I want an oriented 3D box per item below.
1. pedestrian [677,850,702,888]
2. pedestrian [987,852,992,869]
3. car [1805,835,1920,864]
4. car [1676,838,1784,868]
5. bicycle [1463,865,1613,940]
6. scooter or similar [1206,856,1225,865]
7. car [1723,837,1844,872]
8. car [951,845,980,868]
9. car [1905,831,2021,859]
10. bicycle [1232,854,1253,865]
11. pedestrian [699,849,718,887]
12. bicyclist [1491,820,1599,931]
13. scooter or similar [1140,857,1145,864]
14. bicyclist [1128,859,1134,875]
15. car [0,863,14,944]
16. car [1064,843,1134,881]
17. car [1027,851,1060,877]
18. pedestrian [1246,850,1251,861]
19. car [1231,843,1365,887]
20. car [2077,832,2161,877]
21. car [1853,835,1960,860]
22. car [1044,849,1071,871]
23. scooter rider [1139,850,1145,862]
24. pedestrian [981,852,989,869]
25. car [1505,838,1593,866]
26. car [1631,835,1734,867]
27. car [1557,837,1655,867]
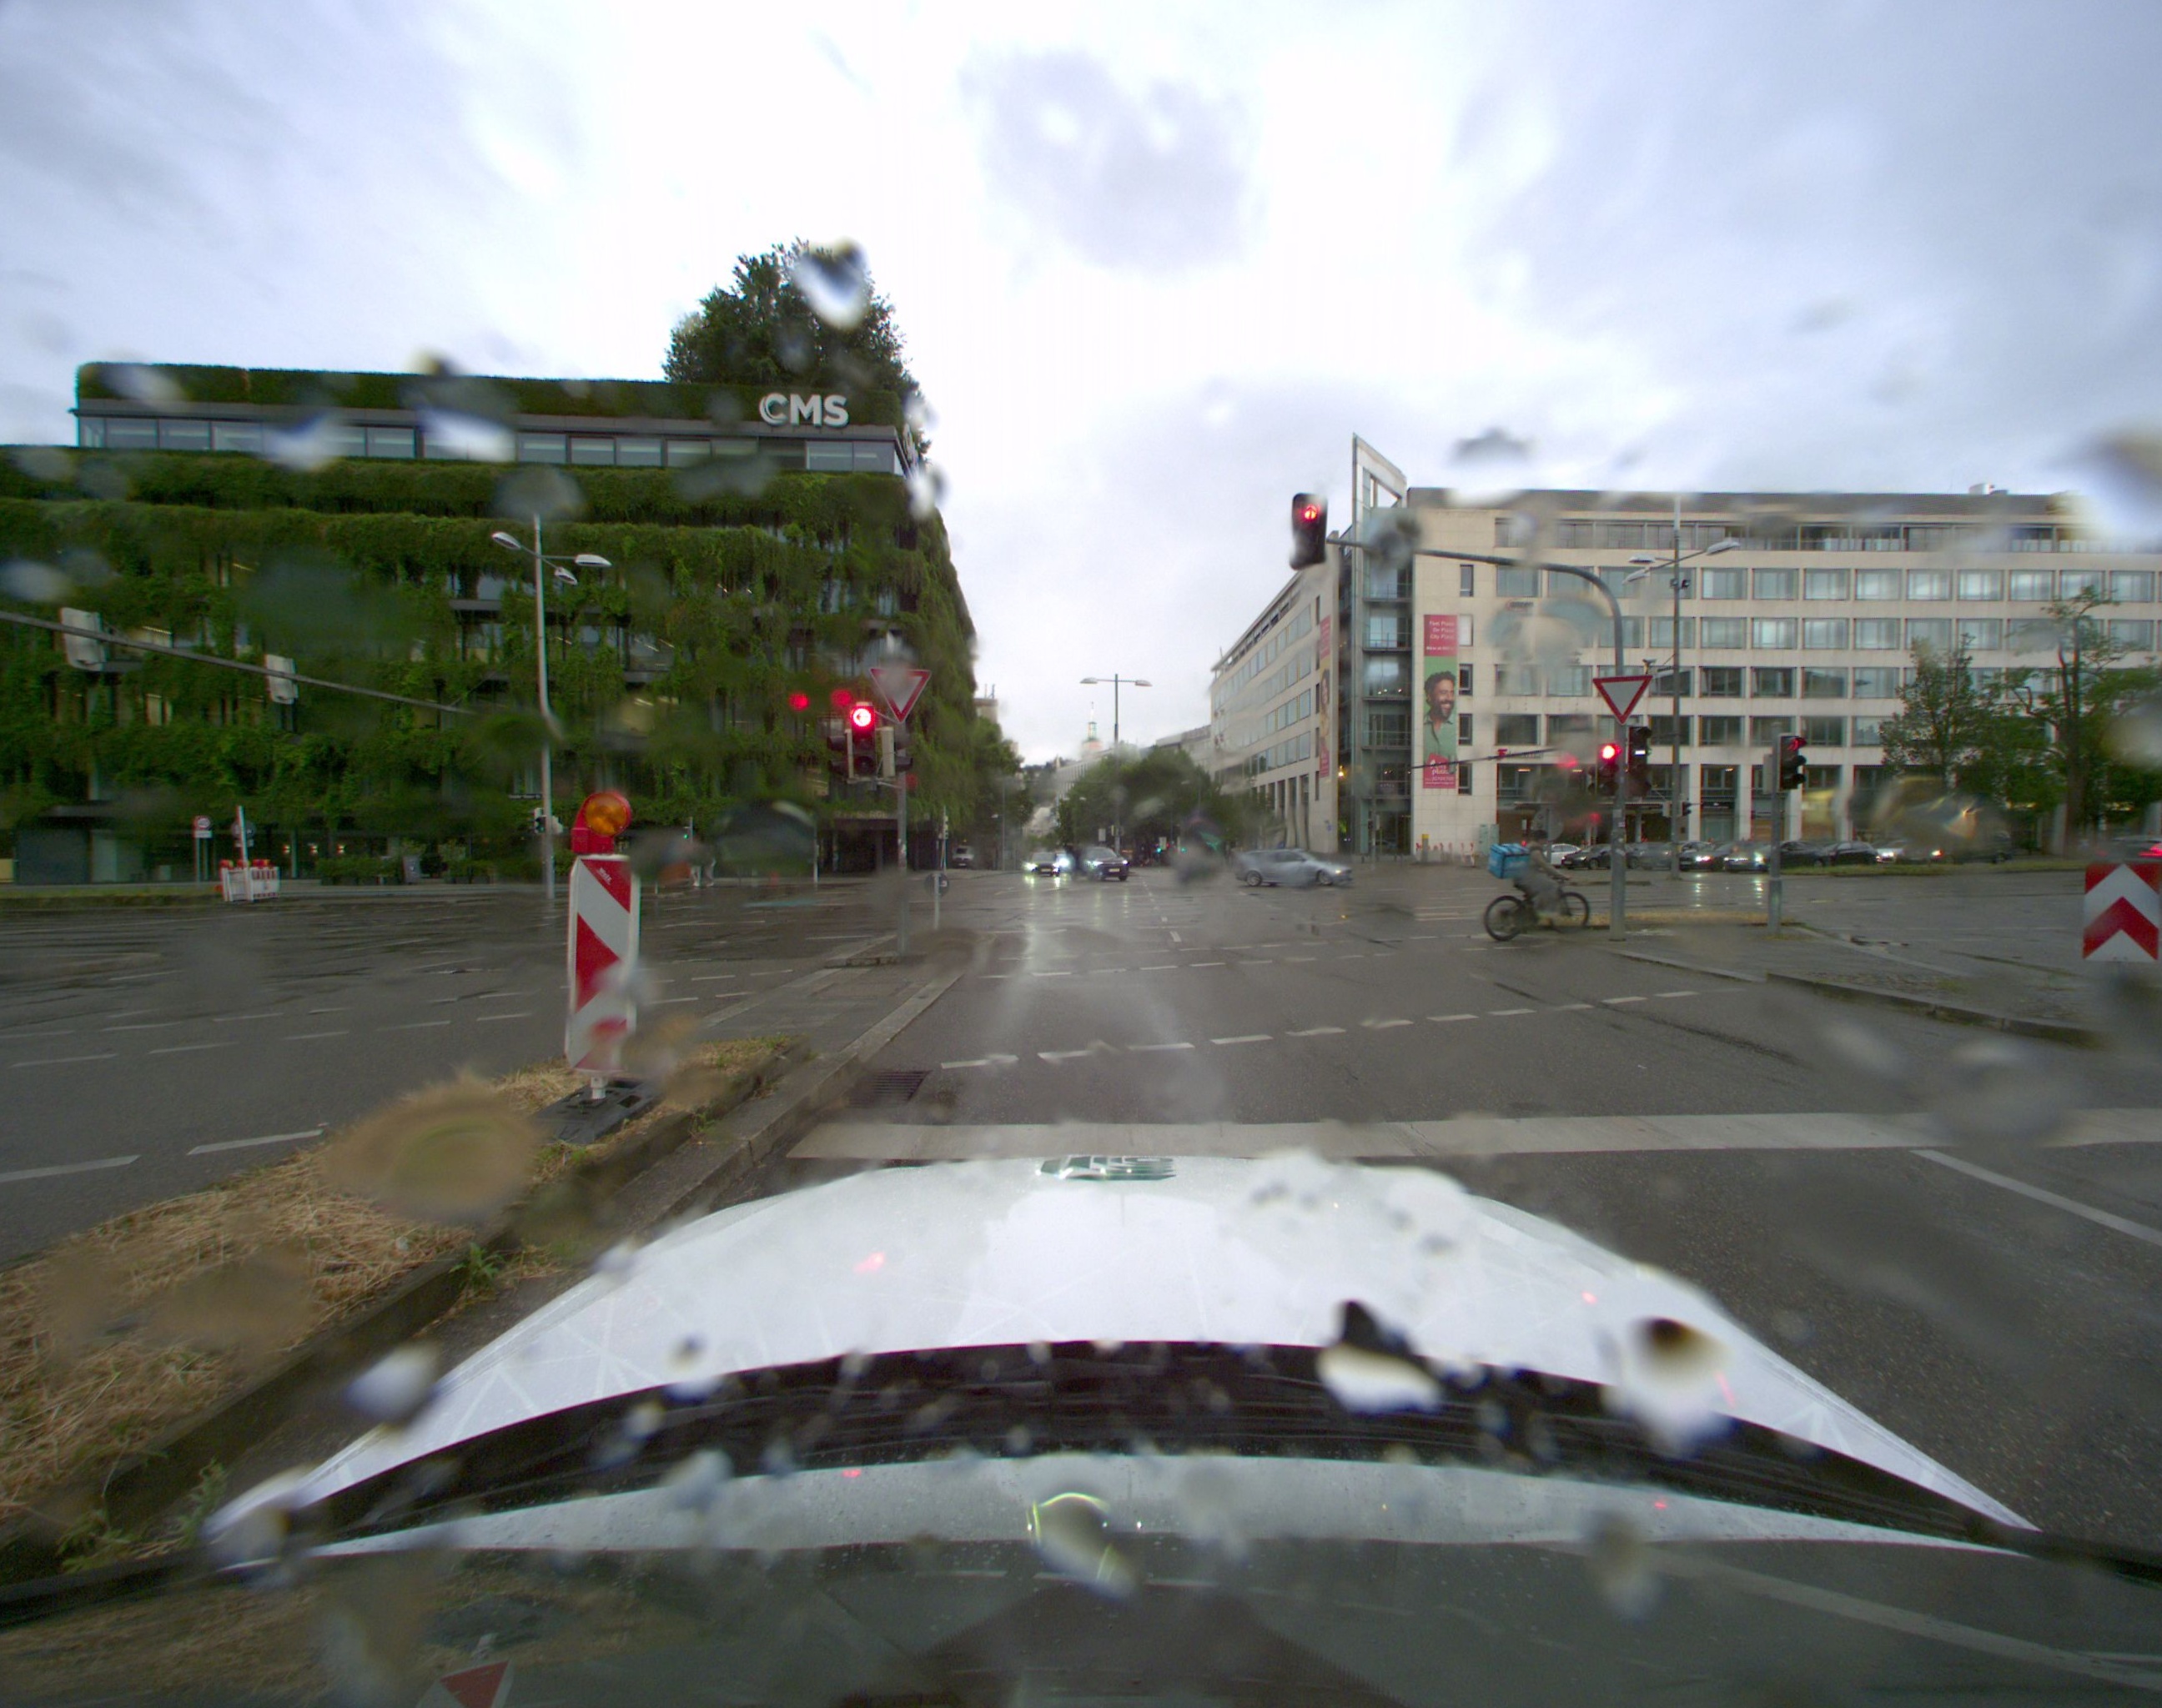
[{"bbox_3d":[-18.304,0.680,38.100,0.939,1.758,1.163,-1,0,-22],"label":"pedestrian"},{"bbox_3d":[-8.086,0.577,72.040,0.435,1.524,0.547,-1,0,-3],"label":"pedestrian"},{"bbox_3d":[39.240,-0.234,40.926,4.637,1.348,1.919,-1,0,-12],"label":"car"},{"bbox_3d":[31.360,-0.048,39.379,4.455,1.348,1.715,-1,0,-13],"label":"car"},{"bbox_3d":[7.375,0.752,13.157,2.150,1.103,0.844,-1,0,-16],"label":"bicycle"},{"bbox_3d":[13.212,0.613,79.907,1.750,0.878,0.486,-1,0,-18],"label":"scooter or similar"},{"bbox_3d":[31.271,0.006,36.298,4.452,1.464,1.716,-1,0,-11],"label":"car"},{"bbox_3d":[-9.703,0.205,68.716,1.989,1.895,4.461,-1,0,-2],"label":"car"},{"bbox_3d":[45.284,-0.465,41.847,4.637,1.348,1.919,-1,0,-12],"label":"car"},{"bbox_3d":[14.401,0.469,72.576,1.786,0.934,0.476,-1,0,4],"label":"bicycle"},{"bbox_3d":[-17.522,0.633,38.296,0.744,1.758,0.969,-1,0,-22],"label":"pedestrian"},{"bbox_3d":[7.488,0.319,13.157,1.297,1.704,0.843,-1,0,-17],"label":"bicyclist"},{"bbox_3d":[9.086,0.905,120.741,0.554,1.007,1.824,-1,0,1],"label":"scooter or similar"},{"bbox_3d":[6.244,1.594,101.808,0.788,1.975,1.114,-1,0,1],"label":"bicyclist"},{"bbox_3d":[-27.138,1.201,18.221,3.451,1.922,1.992,-1,0,-11],"label":"car"},{"bbox_3d":[0.800,0.315,39.253,1.970,1.655,4.337,-2,1,-19],"label":"car"},{"bbox_3d":[-2.248,0.556,49.716,1.851,1.448,4.619,-1,1,-1],"label":"car"},{"bbox_3d":[16.830,0.161,81.792,0.354,1.173,0.411,-1,0,-25],"label":"pedestrian"},{"bbox_3d":[8.066,0.386,30.525,4.407,1.486,2.012,0,1,42],"label":"car"},{"bbox_3d":[38.534,-0.017,28.895,4.537,1.550,1.995,-1,0,-8],"label":"car"},{"bbox_3d":[46.302,-0.364,45.690,4.634,1.348,1.921,-1,0,-10],"label":"car"},{"bbox_3d":[-2.132,0.477,71.338,2.171,1.823,4.637,-1,0,-4],"label":"car"},{"bbox_3d":[9.041,0.281,120.691,0.759,1.774,0.796,-1,0,1],"label":"scooter rider"},{"bbox_3d":[-8.481,0.584,72.021,0.605,1.524,0.587,-1,0,-3],"label":"pedestrian"},{"bbox_3d":[27.972,-0.110,48.695,4.456,1.598,1.991,-1,0,-14],"label":"car"},{"bbox_3d":[31.678,-0.173,42.909,4.455,1.598,1.991,-1,0,-13],"label":"car"},{"bbox_3d":[29.211,-0.118,45.386,4.451,1.598,1.993,-1,0,-10],"label":"car"}]
